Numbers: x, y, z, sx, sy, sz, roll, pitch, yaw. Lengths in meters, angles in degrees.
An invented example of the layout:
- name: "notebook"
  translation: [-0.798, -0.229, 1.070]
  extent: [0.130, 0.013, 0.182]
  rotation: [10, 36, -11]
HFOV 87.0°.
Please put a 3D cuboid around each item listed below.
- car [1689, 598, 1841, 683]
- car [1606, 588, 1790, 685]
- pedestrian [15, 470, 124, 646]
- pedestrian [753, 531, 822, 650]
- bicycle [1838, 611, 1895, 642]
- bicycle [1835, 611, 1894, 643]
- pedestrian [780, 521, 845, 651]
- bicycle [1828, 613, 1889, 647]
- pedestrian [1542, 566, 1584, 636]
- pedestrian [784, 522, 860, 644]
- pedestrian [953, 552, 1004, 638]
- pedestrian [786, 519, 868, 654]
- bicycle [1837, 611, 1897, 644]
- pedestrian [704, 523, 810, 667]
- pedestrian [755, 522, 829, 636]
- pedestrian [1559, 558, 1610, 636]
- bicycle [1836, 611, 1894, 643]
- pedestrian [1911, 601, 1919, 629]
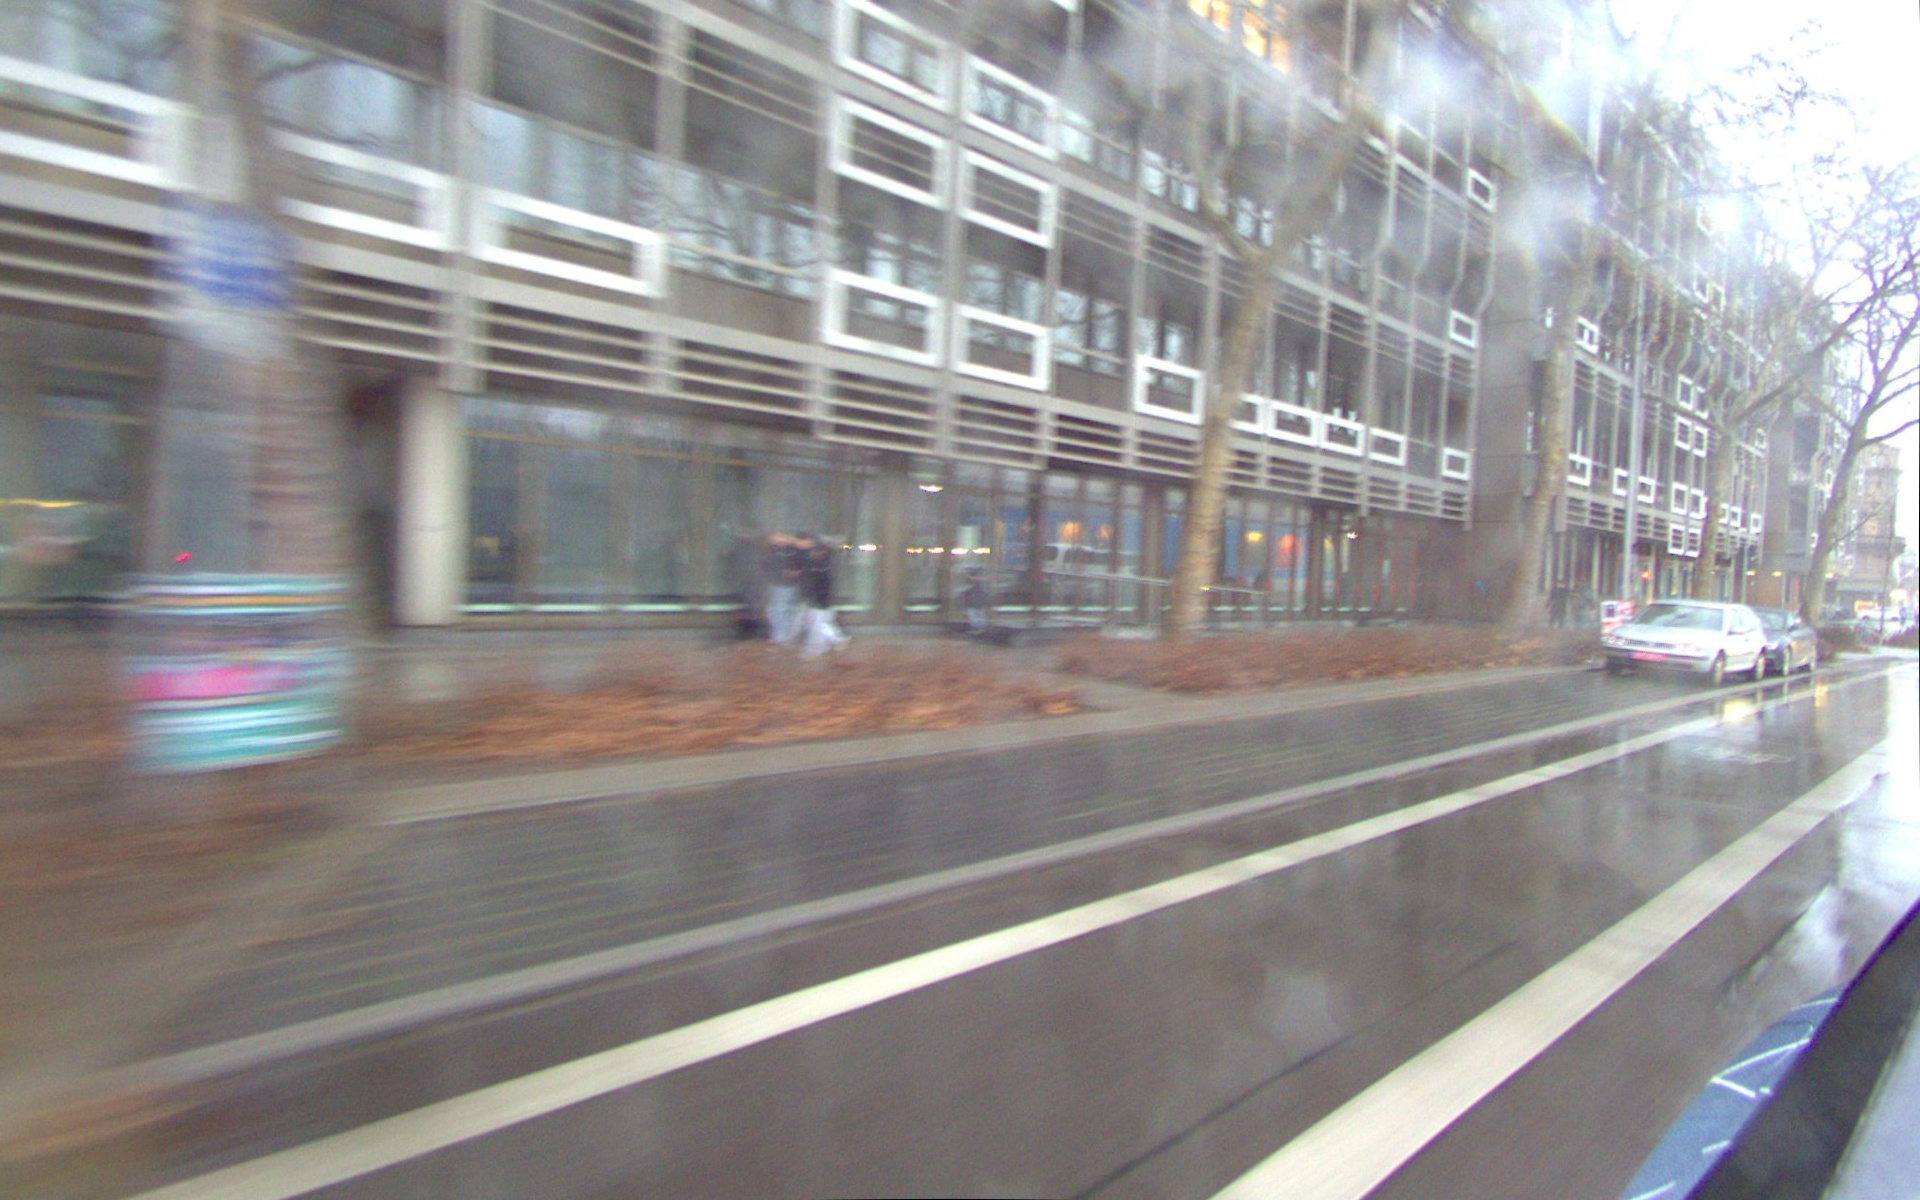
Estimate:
- name: "car"
  translation: [17.494, 0.822, 21.932]
  extent: [3.947, 1.567, 1.764]
  rotation: [1, 3, -40]
- name: "car"
  translation: [13.553, 0.614, 18.519]
  extent: [3.857, 1.448, 1.610]
  rotation: [1, 5, -38]
- name: "pedestrian"
  translation: [-8.846, -0.412, 10.084]
  extent: [0.766, 1.676, 0.617]
  rotation: [1, 2, -39]
- name: "pedestrian"
  translation: [-2.373, -0.139, 13.890]
  extent: [0.732, 1.583, 0.484]
  rotation: [1, 2, -41]
- name: "bicycle"
  translation: [33.361, 0.956, 37.262]
  extent: [1.519, 1.049, 0.462]
  rotation: [3, 2, 44]
- name: "bicycle"
  translation: [31.932, 0.952, 35.732]
  extent: [1.519, 1.049, 0.462]
  rotation: [3, 2, 44]
- name: "pedestrian"
  translation: [-1.969, -0.194, 13.522]
  extent: [0.700, 1.688, 0.379]
  rotation: [1, 2, -39]
- name: "bicycle"
  translation: [30.282, 0.996, 34.115]
  extent: [1.519, 1.049, 0.462]
  rotation: [3, 2, 44]
- name: "pedestrian"
  translation: [18.267, 0.021, 30.666]
  extent: [0.723, 2.038, 0.822]
  rotation: [1, 2, -41]
- name: "pedestrian"
  translation: [-2.046, -0.261, 14.976]
  extent: [0.829, 1.739, 0.659]
  rotation: [1, 3, -44]
- name: "pedestrian"
  translation: [0.319, -0.098, 17.395]
  extent: [0.705, 1.406, 0.562]
  rotation: [3, 2, 14]
- name: "pedestrian"
  translation: [-1.721, -0.177, 13.097]
  extent: [0.857, 1.688, 0.501]
  rotation: [1, 2, -39]
- name: "bicycle"
  translation: [31.527, 0.951, 35.202]
  extent: [1.519, 1.049, 0.462]
  rotation: [3, 2, 44]
- name: "pedestrian"
  translation: [-2.309, -0.072, 11.468]
  extent: [0.823, 1.542, 0.866]
  rotation: [1, 2, -39]
- name: "pedestrian"
  translation: [-2.558, -0.322, 15.422]
  extent: [0.829, 1.675, 0.640]
  rotation: [1, 3, -44]
- name: "pedestrian"
  translation: [16.911, -0.078, 27.421]
  extent: [1.006, 2.038, 0.791]
  rotation: [1, 2, -40]
- name: "bicycle"
  translation: [32.362, 0.950, 36.212]
  extent: [1.519, 1.049, 0.462]
  rotation: [3, 2, 44]
- name: "pedestrian"
  translation: [72.847, 1.143, 76.810]
  extent: [0.758, 2.038, 0.838]
  rotation: [0, 1, -40]
